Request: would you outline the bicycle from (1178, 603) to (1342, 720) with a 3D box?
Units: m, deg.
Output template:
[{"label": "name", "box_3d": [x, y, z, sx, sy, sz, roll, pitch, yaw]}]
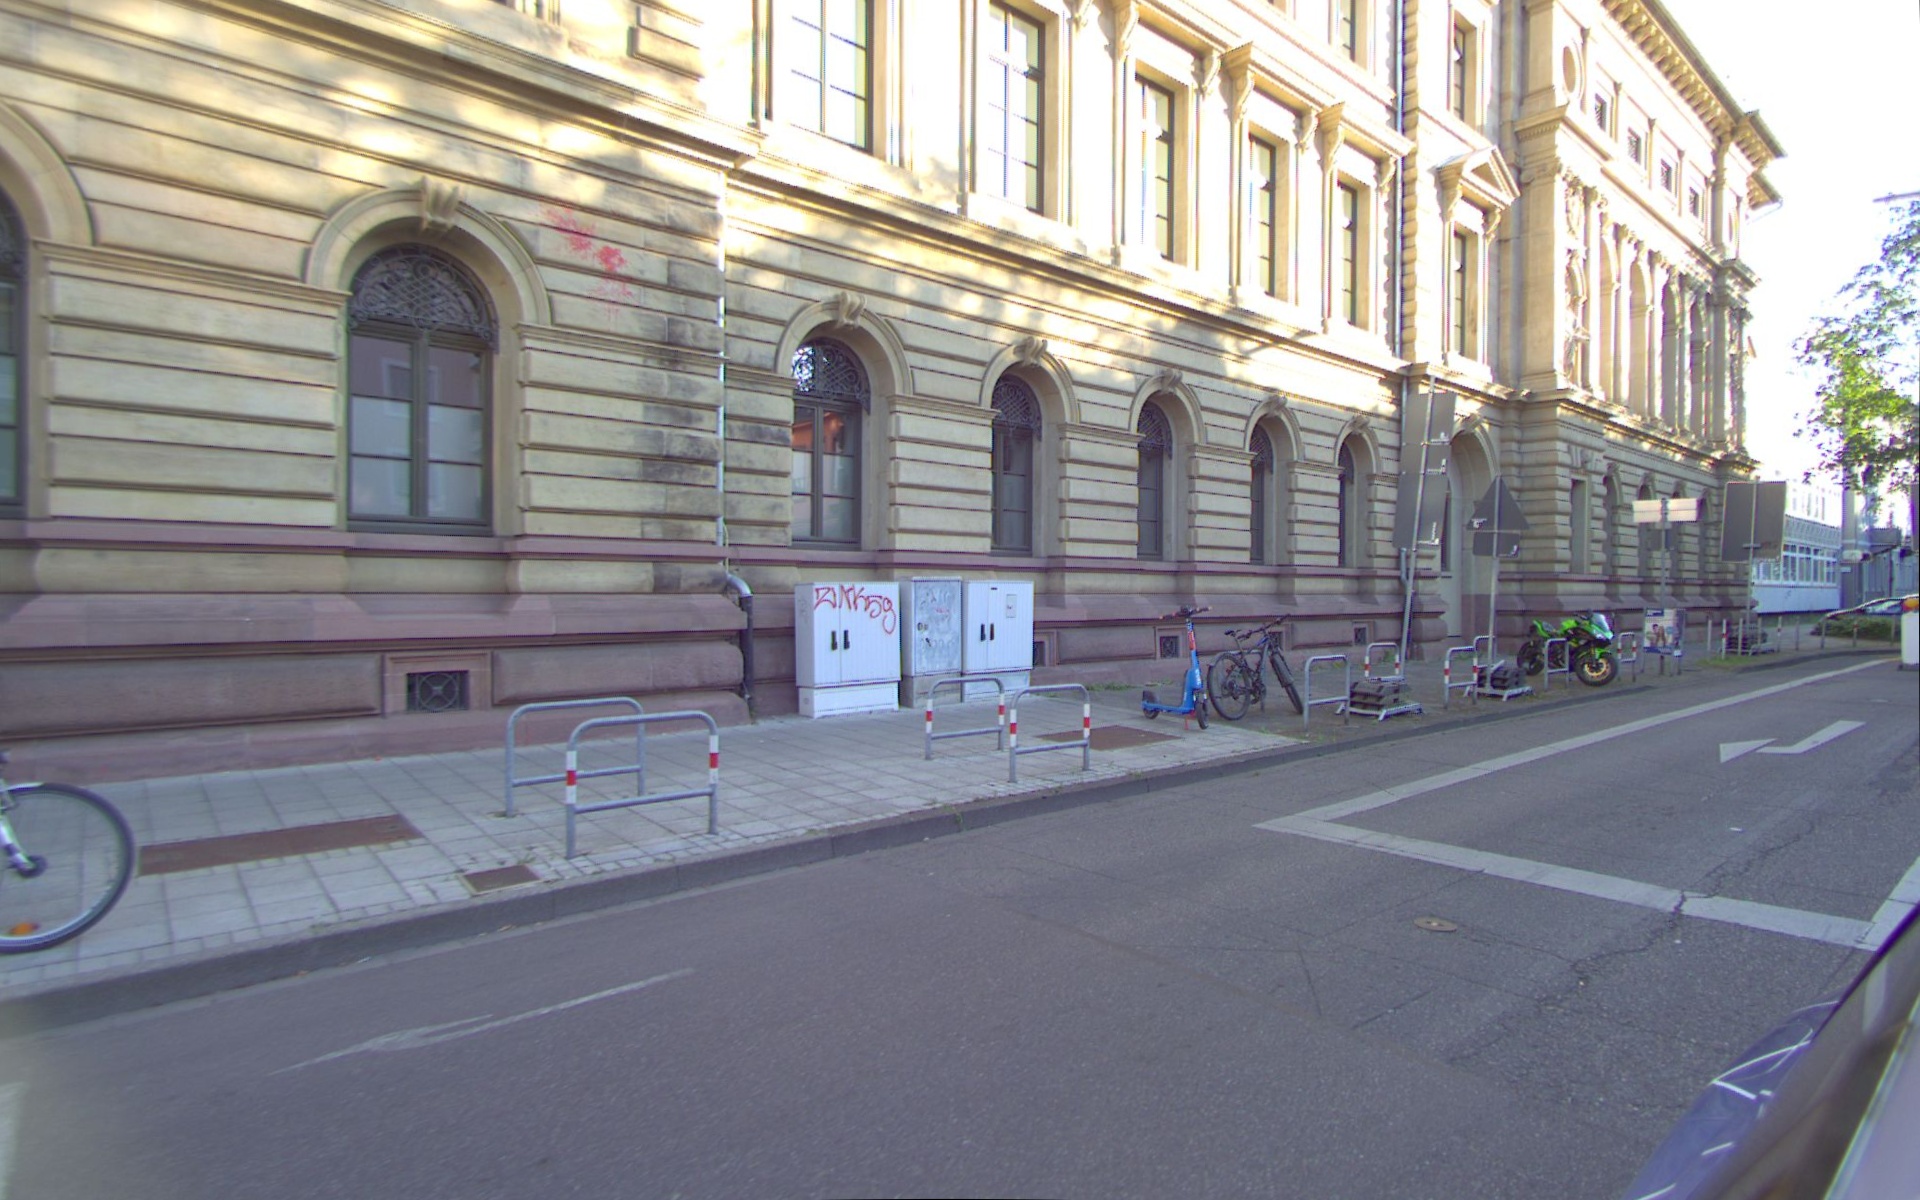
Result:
[{"label": "bicycle", "box_3d": [3.412, 0.641, 11.440, 1.910, 1.148, 0.829, 0, 3, -41]}]

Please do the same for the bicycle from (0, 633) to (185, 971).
[{"label": "bicycle", "box_3d": [-4.066, 0.787, 3.715, 1.887, 1.203, 0.583, -2, 2, -41]}]

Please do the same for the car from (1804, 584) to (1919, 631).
[{"label": "car", "box_3d": [32.879, 0.257, 35.878, 1.804, 1.482, 4.362, -1, 4, -44]}]

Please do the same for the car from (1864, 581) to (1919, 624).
[{"label": "car", "box_3d": [39.970, 0.166, 41.329, 2.020, 1.662, 4.364, 0, 3, -43]}]

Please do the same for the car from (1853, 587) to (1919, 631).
[{"label": "car", "box_3d": [35.502, 0.389, 36.771, 1.643, 1.513, 4.367, 0, 3, -40]}]

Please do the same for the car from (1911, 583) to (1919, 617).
[{"label": "car", "box_3d": [48.303, 0.096, 48.095, 1.704, 1.644, 4.364, 0, 3, -42]}]

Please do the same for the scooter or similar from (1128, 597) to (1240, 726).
[{"label": "scooter or similar", "box_3d": [2.315, 0.603, 10.559, 0.572, 1.210, 1.136, 0, 3, -22]}]

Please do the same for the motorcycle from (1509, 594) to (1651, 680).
[{"label": "motorcycle", "box_3d": [10.129, 0.572, 16.650, 0.695, 1.230, 2.109, 1, 3, -11]}]
